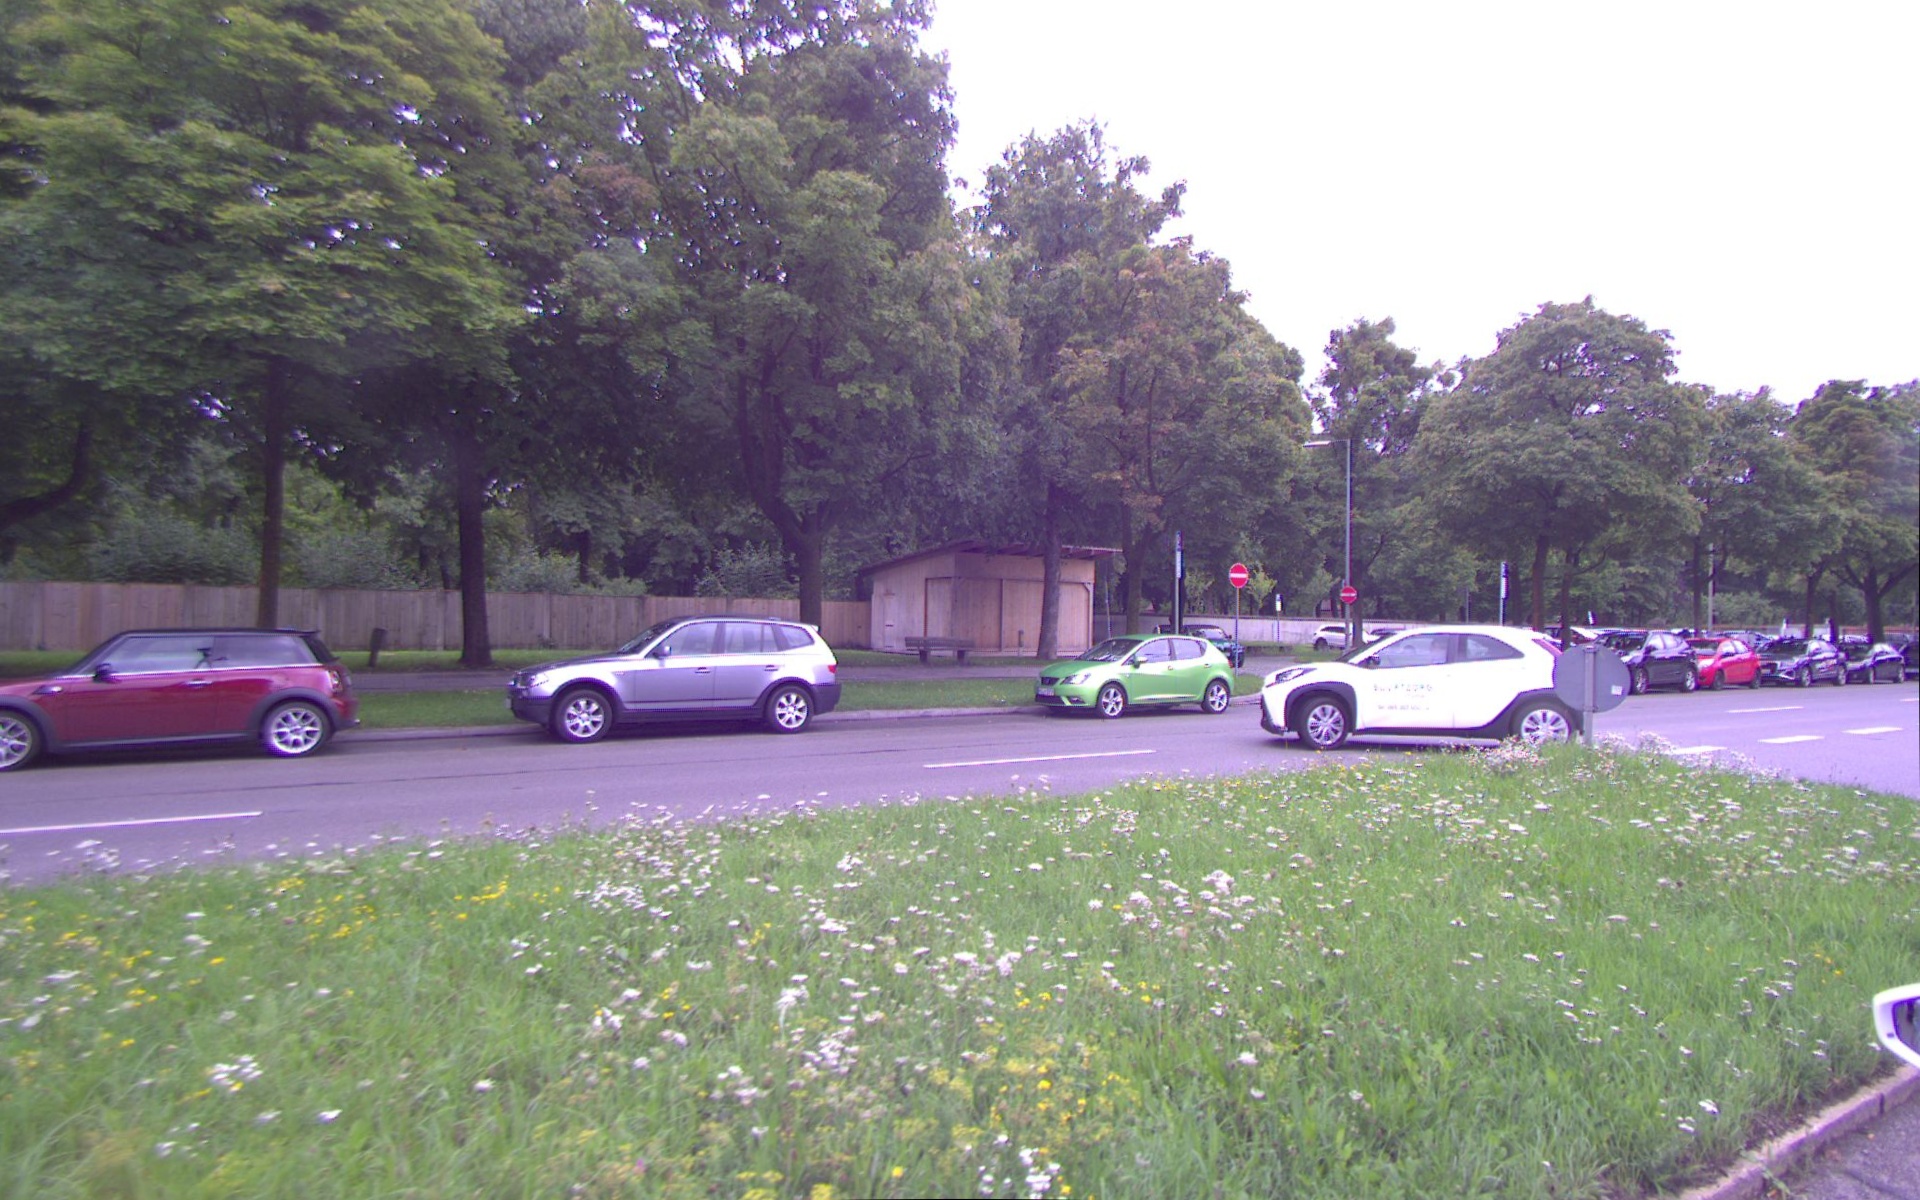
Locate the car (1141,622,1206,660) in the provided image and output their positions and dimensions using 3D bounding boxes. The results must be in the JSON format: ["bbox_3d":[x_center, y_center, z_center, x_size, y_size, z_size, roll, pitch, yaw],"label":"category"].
[{"bbox_3d":[8.928,1.689,42.310,1.822,1.428,4.469,1,-1,0],"label":"car"}]

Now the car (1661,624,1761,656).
[{"bbox_3d":[40.680,2.147,54.499,1.792,1.591,3.971,1,-1,-28],"label":"car"}]

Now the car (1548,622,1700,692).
[{"bbox_3d":[17.886,1.536,27.019,4.193,1.722,1.812,3,-1,-32],"label":"car"}]

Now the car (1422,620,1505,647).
[{"bbox_3d":[32.430,2.124,64.846,1.977,1.647,4.483,1,-1,-30],"label":"car"}]

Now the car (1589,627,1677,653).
[{"bbox_3d":[40.501,2.378,60.535,1.980,1.461,3.960,2,-1,-35],"label":"car"}]

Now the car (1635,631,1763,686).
[{"bbox_3d":[21.922,1.737,29.773,3.768,1.499,1.812,3,-1,-32],"label":"car"}]

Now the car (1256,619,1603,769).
[{"bbox_3d":[5.685,1.060,12.541,3.649,1.574,1.827,1,-1,22],"label":"car"}]

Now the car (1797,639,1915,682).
[{"bbox_3d":[31.177,2.090,34.948,3.951,1.428,1.814,2,-3,-29],"label":"car"}]

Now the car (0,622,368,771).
[{"bbox_3d":[-8.689,1.003,11.087,3.643,1.440,1.643,1,-3,-30],"label":"car"}]

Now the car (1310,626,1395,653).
[{"bbox_3d":[23.187,2.332,59.486,1.974,1.461,4.489,1,-1,-27],"label":"car"}]

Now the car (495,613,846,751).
[{"bbox_3d":[-3.970,1.057,14.003,4.405,1.652,1.812,2,-2,-31],"label":"car"}]

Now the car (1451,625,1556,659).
[{"bbox_3d":[25.900,1.971,47.975,1.980,1.461,3.960,2,-1,-35],"label":"car"}]

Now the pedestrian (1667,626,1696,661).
[{"bbox_3d":[31.917,1.917,44.433,0.846,1.515,0.791,1,-1,-30],"label":"pedestrian"}]

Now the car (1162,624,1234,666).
[{"bbox_3d":[8.932,1.660,37.968,1.822,1.428,3.860,1,-1,0],"label":"car"}]

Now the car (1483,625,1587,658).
[{"bbox_3d":[28.220,1.996,49.381,1.980,1.461,3.960,2,-1,-35],"label":"car"}]

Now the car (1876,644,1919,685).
[{"bbox_3d":[36.599,2.430,38.178,3.960,1.466,1.810,2,-3,-35],"label":"car"}]

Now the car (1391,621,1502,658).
[{"bbox_3d":[21.563,1.724,44.632,1.980,1.461,3.960,2,-1,-35],"label":"car"}]

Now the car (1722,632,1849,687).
[{"bbox_3d":[26.371,1.886,32.076,4.063,1.620,1.813,2,-1,-29],"label":"car"}]

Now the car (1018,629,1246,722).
[{"bbox_3d":[3.147,1.308,18.222,3.952,1.519,1.633,1,-2,-30],"label":"car"}]
